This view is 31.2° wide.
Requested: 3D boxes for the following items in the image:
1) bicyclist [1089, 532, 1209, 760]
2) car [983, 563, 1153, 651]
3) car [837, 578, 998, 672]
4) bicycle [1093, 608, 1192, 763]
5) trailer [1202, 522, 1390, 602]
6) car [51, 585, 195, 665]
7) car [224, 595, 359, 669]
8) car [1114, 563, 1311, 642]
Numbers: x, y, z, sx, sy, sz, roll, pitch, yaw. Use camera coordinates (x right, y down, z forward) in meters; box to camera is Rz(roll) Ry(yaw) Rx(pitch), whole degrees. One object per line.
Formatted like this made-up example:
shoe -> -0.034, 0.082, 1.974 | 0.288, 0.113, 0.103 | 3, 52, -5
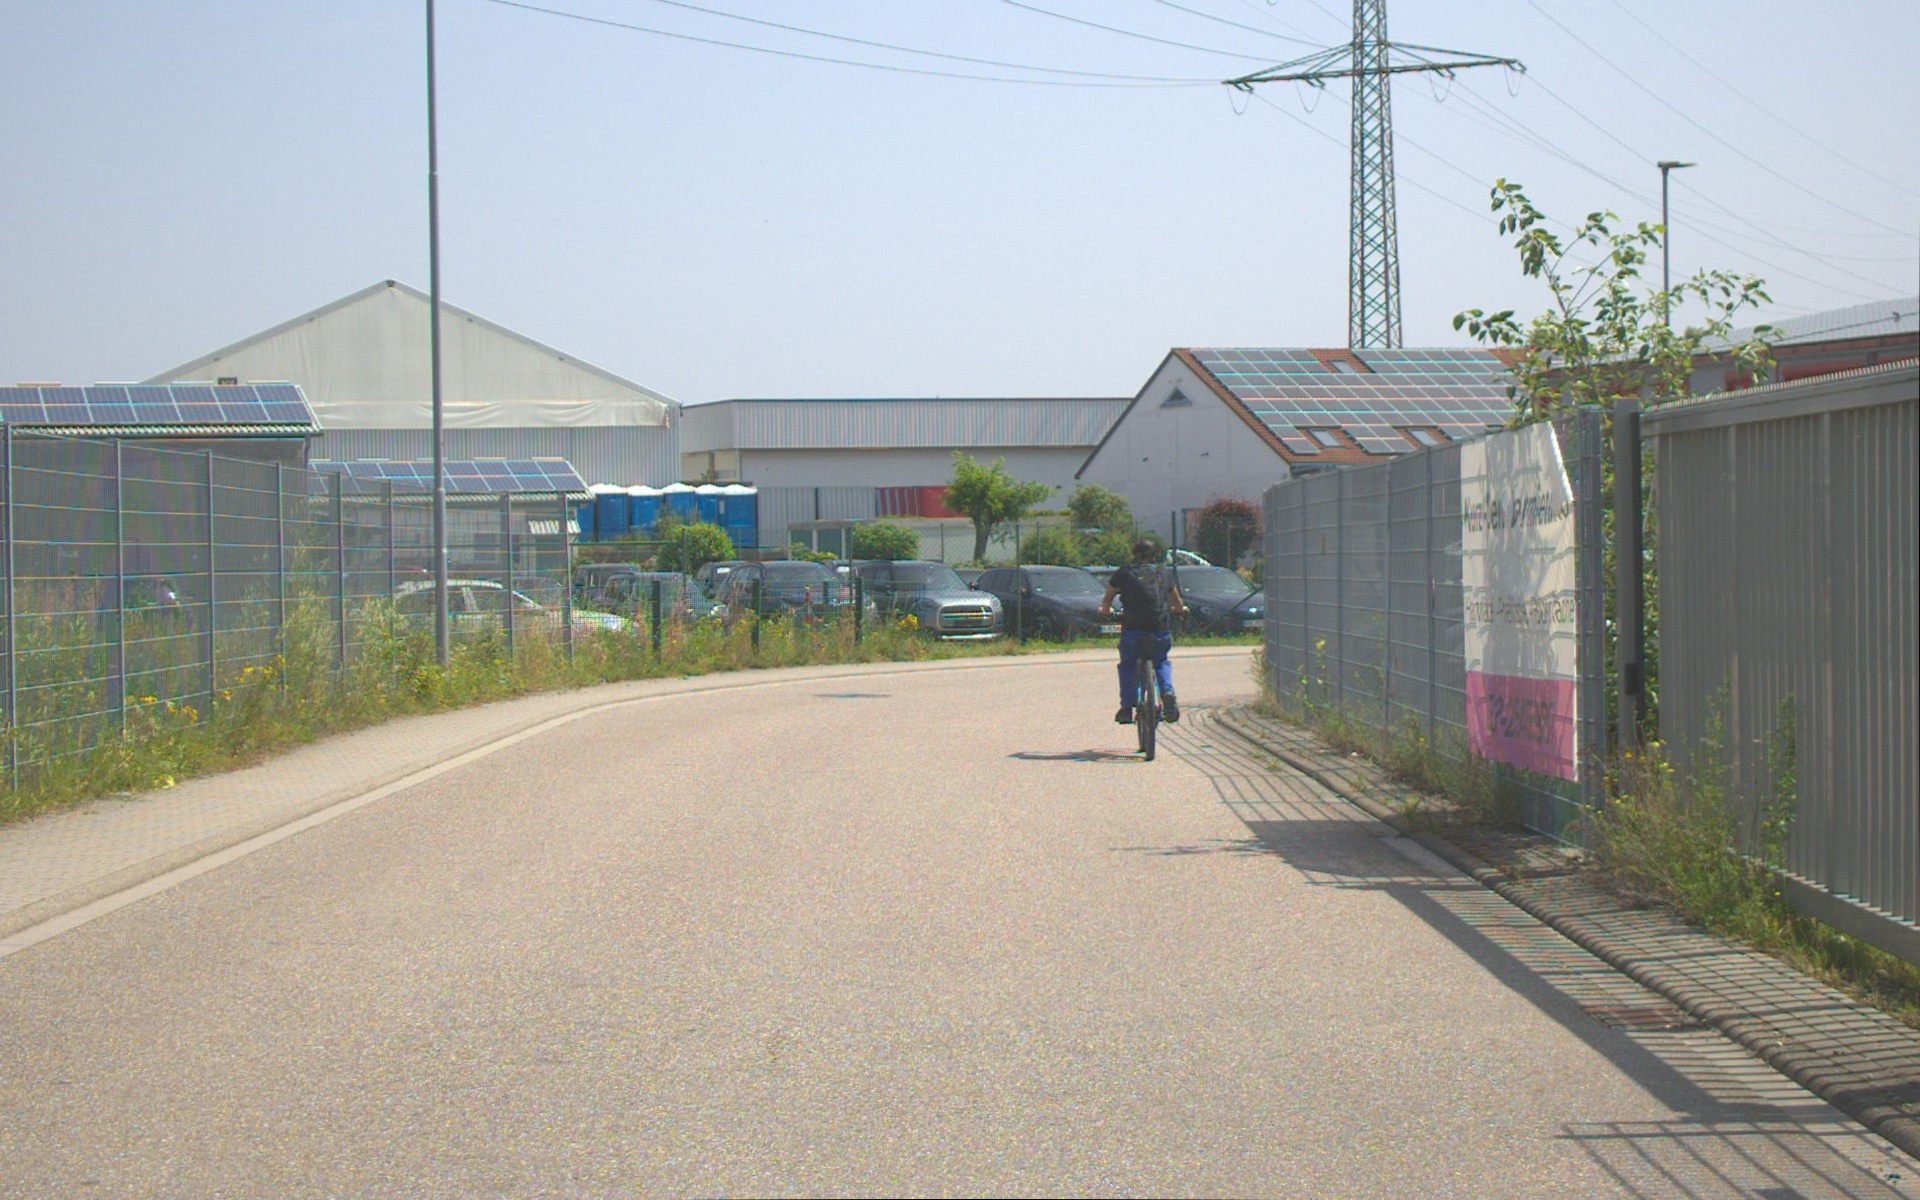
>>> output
bicyclist -> 1.383, 0.319, 25.146 | 0.842, 1.613, 1.039 | 1, 2, 3
car -> 1.945, 0.104, 63.054 | 1.862, 1.549, 3.771 | -1, 1, -19
car -> -0.809, 0.428, 62.652 | 1.862, 1.638, 3.635 | -1, 1, -19
bicycle -> 1.345, 0.603, 25.229 | 0.685, 1.048, 1.900 | 1, 1, 3
trailer -> 8.406, -0.961, 86.116 | 4.447, 1.938, 1.714 | -1, 1, -4
car -> -15.545, 0.439, 63.767 | 1.862, 1.409, 3.441 | -1, 1, -26
car -> -12.342, 0.566, 63.335 | 1.862, 1.294, 3.442 | -1, 1, -21
car -> 4.711, 0.020, 64.817 | 1.995, 1.430, 4.667 | -1, 1, -19
